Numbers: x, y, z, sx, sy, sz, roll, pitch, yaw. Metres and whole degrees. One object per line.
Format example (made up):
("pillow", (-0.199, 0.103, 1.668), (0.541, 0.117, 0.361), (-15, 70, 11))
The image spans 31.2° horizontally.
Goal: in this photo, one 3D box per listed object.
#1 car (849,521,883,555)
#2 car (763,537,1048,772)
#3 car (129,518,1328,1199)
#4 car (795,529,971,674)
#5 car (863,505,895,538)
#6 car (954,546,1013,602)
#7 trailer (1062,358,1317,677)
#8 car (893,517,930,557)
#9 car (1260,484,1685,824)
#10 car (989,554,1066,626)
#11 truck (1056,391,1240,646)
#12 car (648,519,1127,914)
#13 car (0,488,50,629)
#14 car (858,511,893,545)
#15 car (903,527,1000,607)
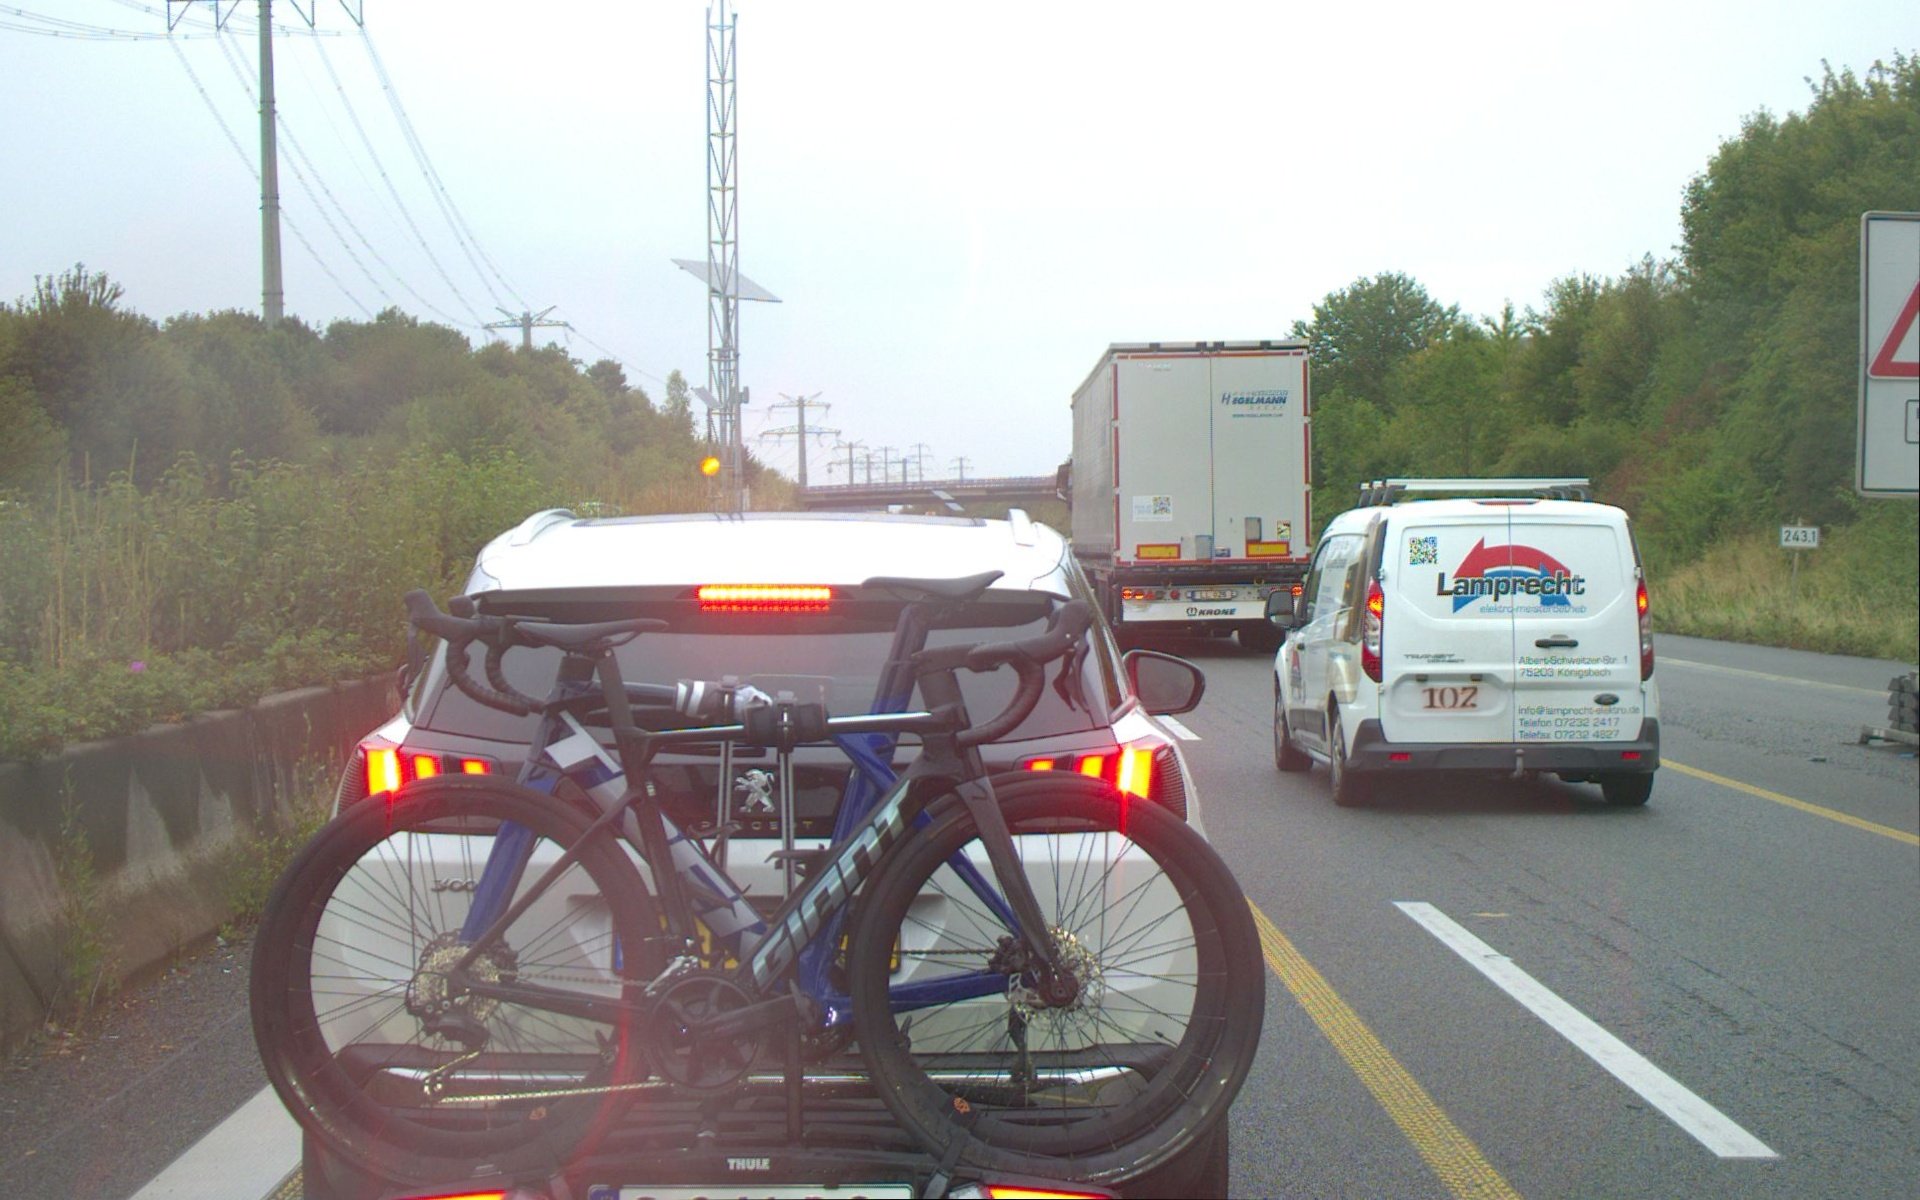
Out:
("car", (-5.633, -3.742, 206.285), (1.931, 1.966, 4.001), (0, 2, -1))
("car", (-0.379, 0.316, 24.368), (1.850, 1.525, 4.000), (0, 1, -1))
("car", (-0.384, 0.593, 7.701), (1.850, 1.525, 4.769), (0, 1, -1))
("car", (-0.831, -0.018, 38.187), (1.850, 1.525, 4.000), (0, 1, -1))
("car", (-4.987, -4.848, 212.055), (1.931, 1.966, 4.001), (0, 2, -1))
("car", (0.859, -1.002, 129.610), (2.148, 1.966, 4.001), (0, 2, -1))
("trailer", (3.133, -1.175, 50.678), (2.692, 4.062, 13.634), (0, 1, -1))
("car", (-2.546, -3.307, 179.860), (1.931, 1.966, 4.001), (0, 2, -1))
("car", (2.972, 0.250, 20.896), (1.829, 1.833, 4.656), (0, 1, -1))
("car", (1.928, -0.305, 99.935), (2.110, 1.966, 4.001), (0, 2, -1))
("truck", (3.085, -1.357, 57.983), (2.660, 4.062, 6.539), (0, 1, -1))
("car", (-0.301, 0.416, 15.307), (1.850, 1.525, 4.000), (0, 1, -1))
("car", (-16.430, -0.670, 55.431), (2.180, 2.257, 5.204), (0, 1, -1))
("car", (-4.885, -4.191, 199.222), (1.931, 1.904, 4.001), (0, 2, -1))
("car", (-0.186, -0.667, 67.812), (1.850, 1.525, 4.000), (0, 1, -1))
